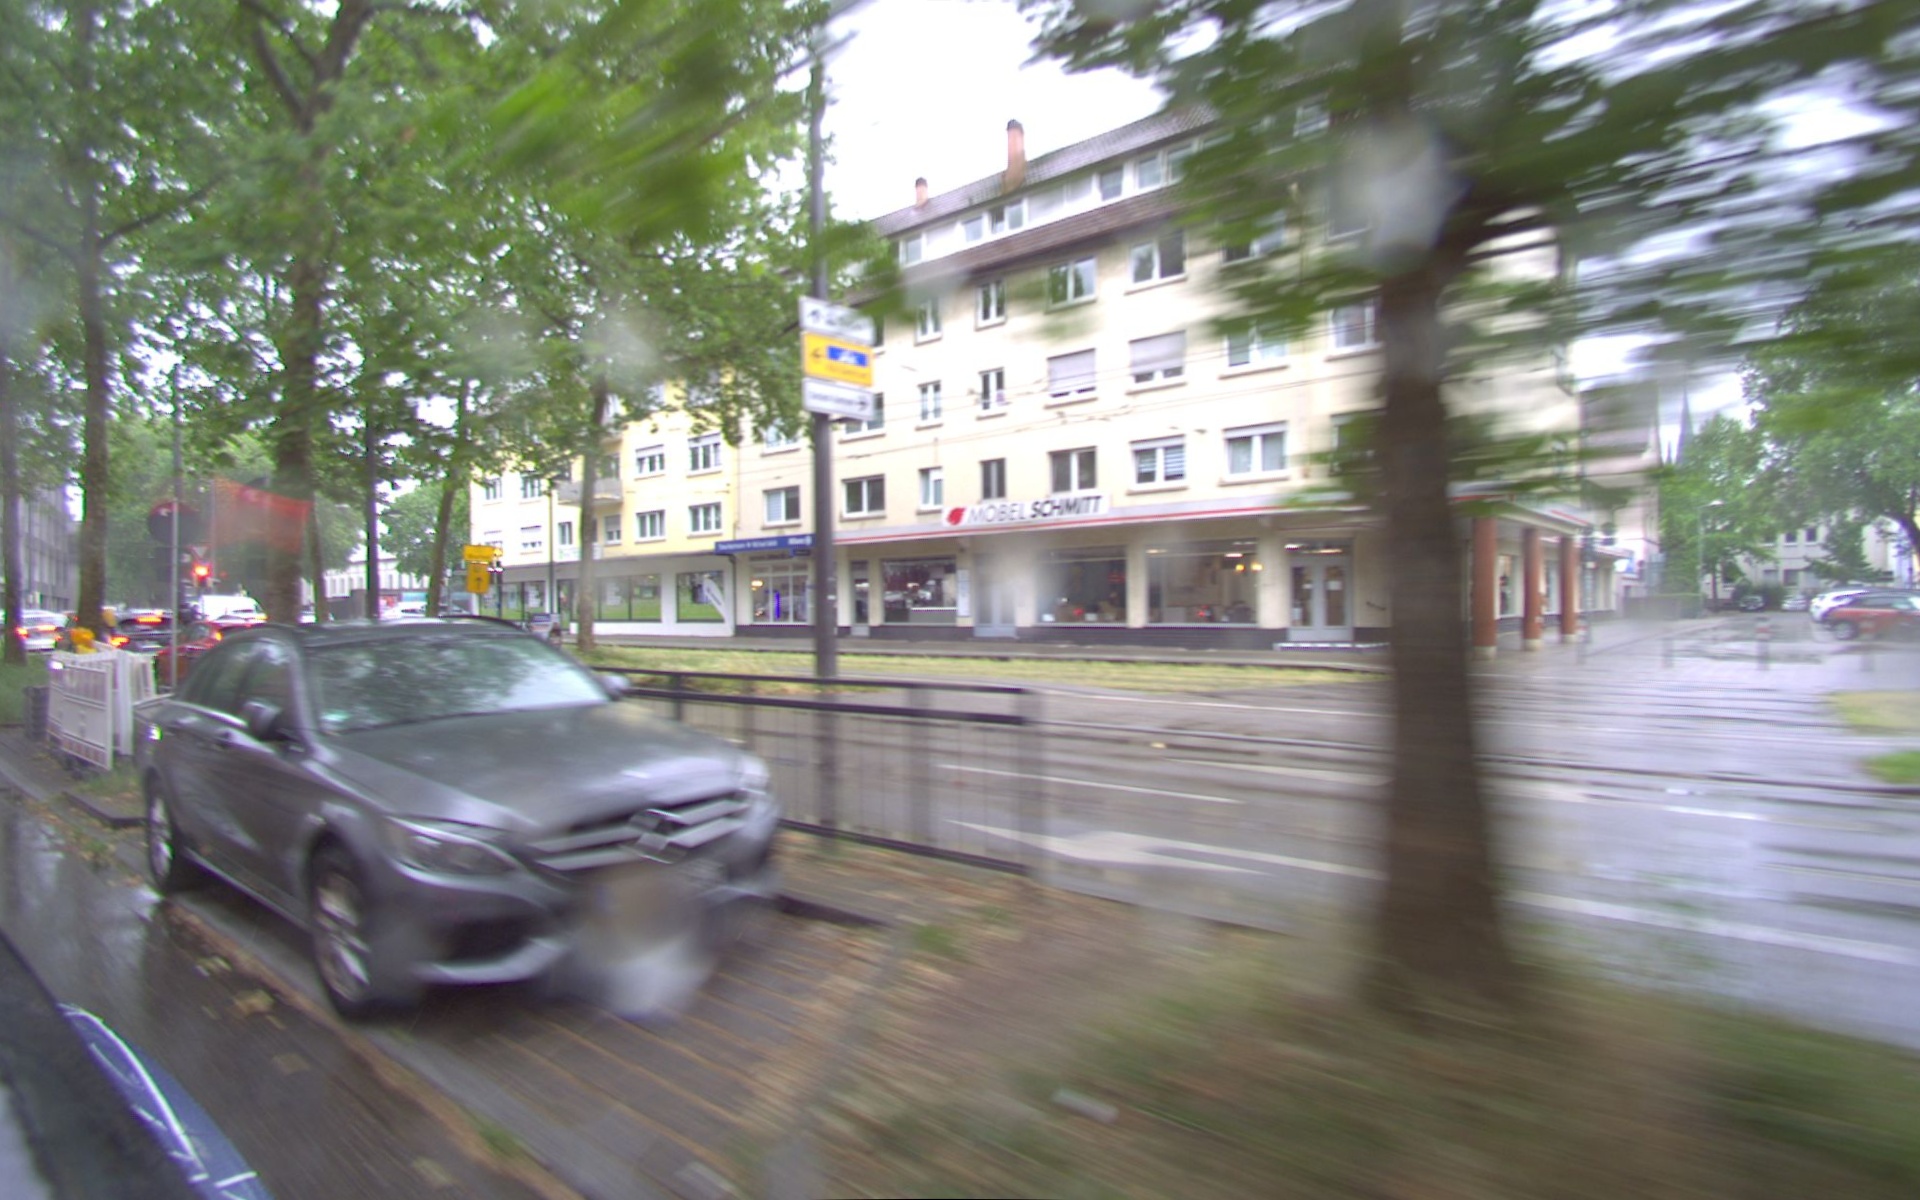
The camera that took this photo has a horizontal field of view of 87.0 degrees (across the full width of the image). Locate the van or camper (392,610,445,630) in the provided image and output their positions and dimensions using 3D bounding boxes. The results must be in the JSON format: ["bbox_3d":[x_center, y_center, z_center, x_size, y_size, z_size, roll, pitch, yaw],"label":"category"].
[{"bbox_3d":[-56.807,2.076,106.260,4.581,2.091,2.003,1,-1,-40],"label":"van or camper"}]

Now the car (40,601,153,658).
[{"bbox_3d":[-25.200,0.840,29.480,4.637,1.496,1.837,-1,0,41],"label":"car"}]

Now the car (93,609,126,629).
[{"bbox_3d":[-75.476,1.662,89.852,1.972,1.785,4.009,0,-1,-36],"label":"car"}]

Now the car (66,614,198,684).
[{"bbox_3d":[-19.724,1.109,24.047,4.430,1.491,1.723,-1,0,41],"label":"car"}]

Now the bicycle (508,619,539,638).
[{"bbox_3d":[-21.747,1.407,50.381,2.045,0.903,0.605,-1,-1,42],"label":"bicycle"}]

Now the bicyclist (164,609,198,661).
[{"bbox_3d":[-26.406,1.174,34.306,0.888,1.729,0.705,1,0,38],"label":"bicyclist"}]

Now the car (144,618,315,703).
[{"bbox_3d":[-14.003,1.074,19.309,4.231,1.408,1.723,-1,0,41],"label":"car"}]

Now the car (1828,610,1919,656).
[{"bbox_3d":[28.049,0.950,29.594,1.323,1.235,3.865,-3,1,-21],"label":"car"}]

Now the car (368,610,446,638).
[{"bbox_3d":[-37.208,1.582,68.134,1.973,1.754,4.215,0,1,36],"label":"car"}]

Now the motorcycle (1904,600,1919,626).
[{"bbox_3d":[26.900,0.356,27.554,0.512,0.715,1.680,0,0,-21],"label":"motorcycle"}]

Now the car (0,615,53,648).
[{"bbox_3d":[-48.876,1.625,50.331,1.940,1.604,5.284,-1,0,29],"label":"car"}]

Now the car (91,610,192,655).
[{"bbox_3d":[-29.686,1.168,36.668,4.276,1.513,1.857,-1,0,37],"label":"car"}]

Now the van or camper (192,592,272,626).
[{"bbox_3d":[-54.773,0.628,76.307,2.149,2.489,5.977,0,0,-5],"label":"van or camper"}]

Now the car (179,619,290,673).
[{"bbox_3d":[-20.963,1.288,29.198,4.128,1.408,1.723,-1,0,41],"label":"car"}]

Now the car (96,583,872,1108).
[{"bbox_3d":[-2.727,0.733,5.159,4.610,1.515,1.810,-1,1,40],"label":"car"}]

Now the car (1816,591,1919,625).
[{"bbox_3d":[35.932,0.321,39.924,1.323,1.235,3.034,-3,1,-29],"label":"car"}]

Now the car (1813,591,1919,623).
[{"bbox_3d":[37.433,0.288,41.818,1.323,1.235,3.034,-3,1,-29],"label":"car"}]

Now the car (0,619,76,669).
[{"bbox_3d":[-30.792,1.416,33.484,4.498,1.500,1.717,-1,0,41],"label":"car"}]

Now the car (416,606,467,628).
[{"bbox_3d":[-51.297,1.673,100.074,4.323,2.029,2.073,0,1,-33],"label":"car"}]
